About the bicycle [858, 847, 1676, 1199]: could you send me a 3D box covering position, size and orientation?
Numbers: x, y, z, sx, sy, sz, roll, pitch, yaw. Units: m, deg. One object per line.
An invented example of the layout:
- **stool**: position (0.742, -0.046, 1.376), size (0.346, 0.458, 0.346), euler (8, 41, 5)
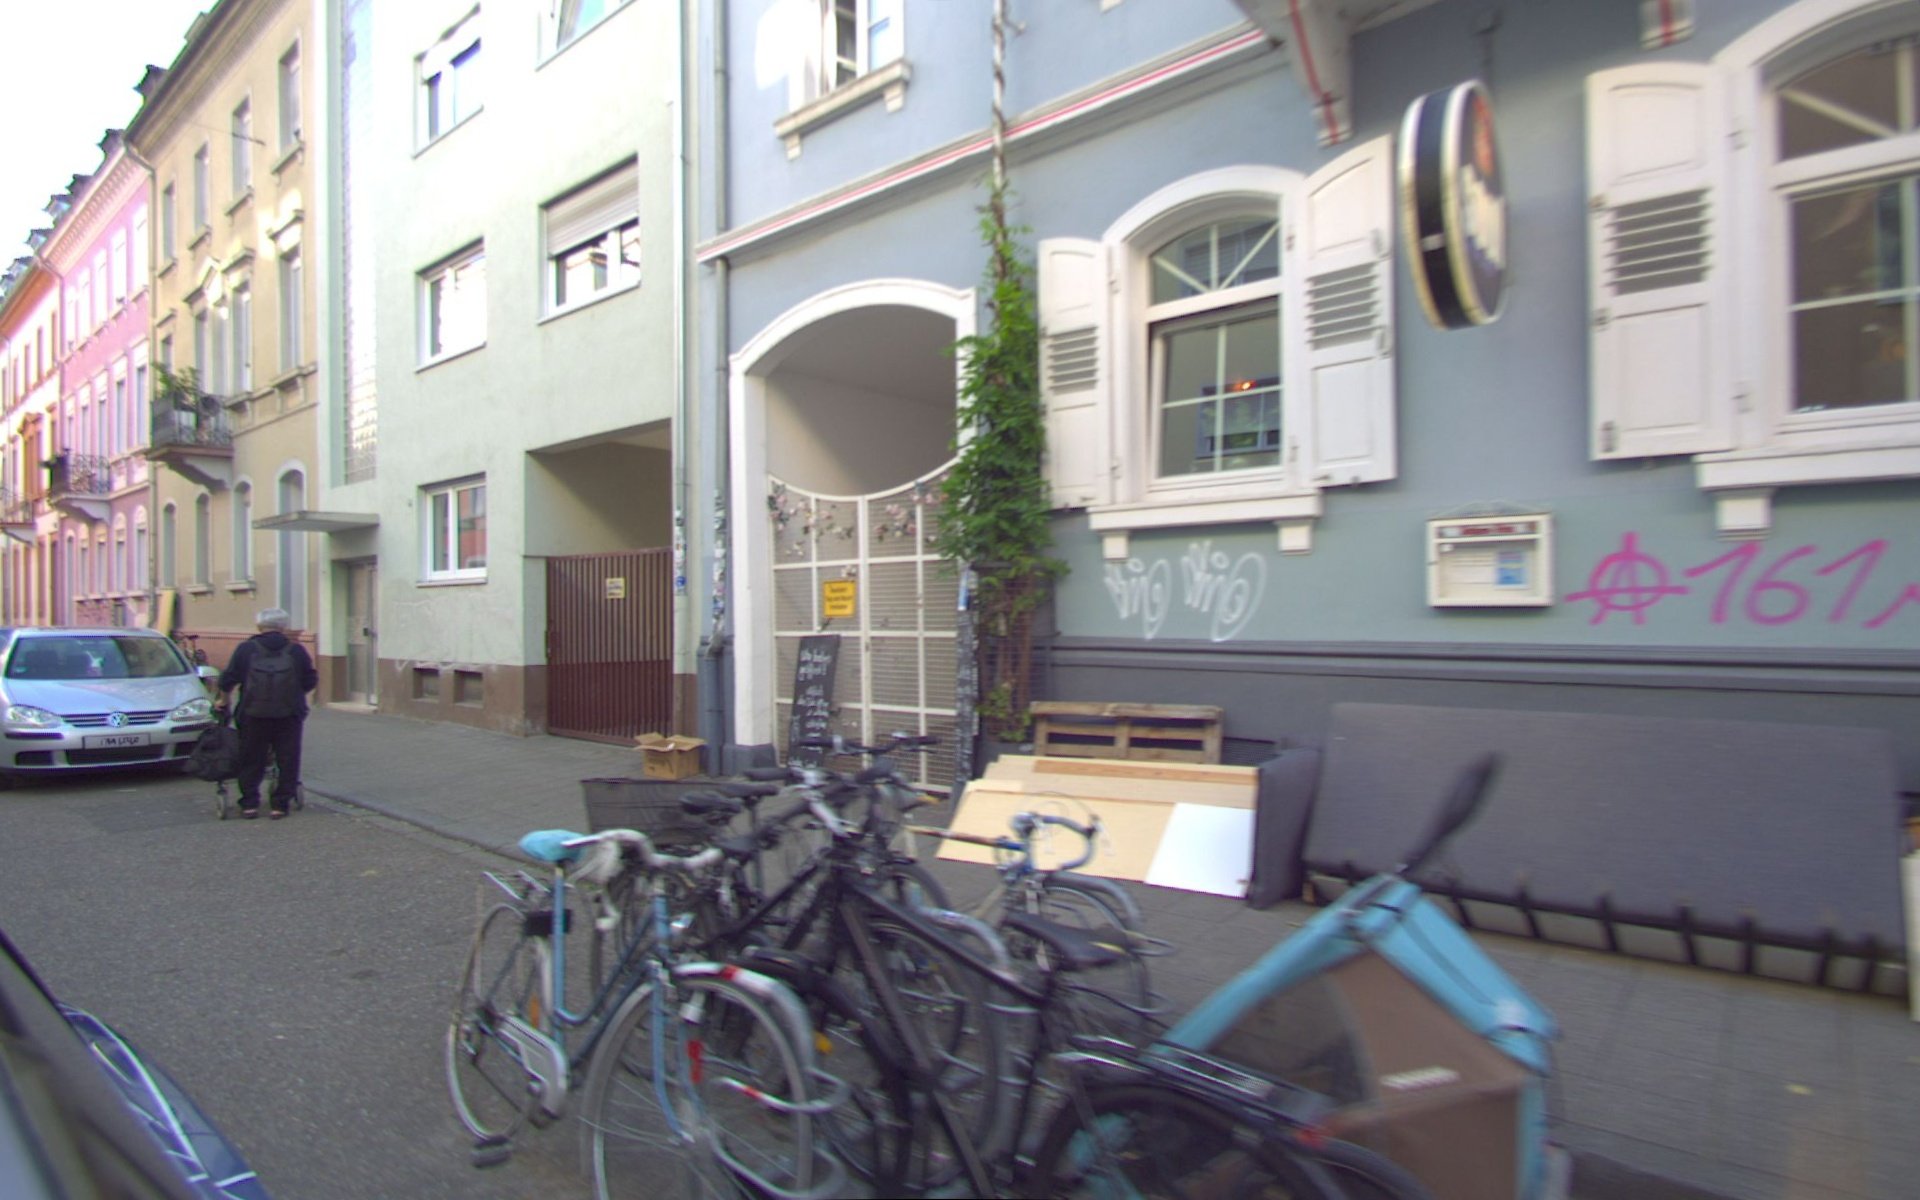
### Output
- **bicycle**: position (0.392, 0.994, 1.682), size (1.289, 0.923, 0.318), euler (-2, -2, 41)

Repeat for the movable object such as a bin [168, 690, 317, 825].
- **movable object such as a bin**: position (-5.667, 1.214, 8.008), size (0.585, 0.904, 0.836), euler (-1, 0, 40)

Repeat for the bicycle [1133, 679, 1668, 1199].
- **bicycle**: position (0.998, 0.807, 2.275), size (0.919, 1.184, 0.805), euler (-1, -1, 38)

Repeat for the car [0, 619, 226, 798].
- **car**: position (-8.895, 0.953, 10.228), size (4.034, 1.466, 1.662), euler (-2, -3, 44)

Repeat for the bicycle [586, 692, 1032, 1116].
- **bicycle**: position (-0.642, 0.944, 3.680), size (1.872, 1.114, 0.439), euler (-1, -1, 39)

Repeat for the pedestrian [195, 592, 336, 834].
- **pedestrian**: position (-5.283, 0.807, 7.708), size (0.671, 1.720, 0.706), euler (-1, 0, 40)

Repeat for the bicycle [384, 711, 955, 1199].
- **bicycle**: position (-0.875, 0.920, 2.659), size (1.828, 1.114, 0.494), euler (-1, -1, 40)

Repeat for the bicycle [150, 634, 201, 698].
- **bicycle**: position (-14.214, 1.176, 18.334), size (1.493, 1.110, 0.413), euler (-1, 0, 40)

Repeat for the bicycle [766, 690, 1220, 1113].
- **bicycle**: position (0.033, 0.929, 3.622), size (1.696, 1.114, 0.439), euler (-1, -1, 40)

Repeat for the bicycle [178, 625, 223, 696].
- **bicycle**: position (-14.015, 1.097, 18.668), size (1.493, 1.269, 0.315), euler (-1, 0, 40)

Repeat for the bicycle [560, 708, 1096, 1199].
- **bicycle**: position (-0.529, 0.961, 3.128), size (1.930, 1.114, 0.439), euler (-1, -1, 40)

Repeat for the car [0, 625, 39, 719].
- **car**: position (-16.997, 1.167, 16.901), size (4.195, 1.473, 1.770), euler (-2, -2, 39)

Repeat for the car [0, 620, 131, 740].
- **car**: position (-12.993, 1.021, 13.890), size (3.996, 1.463, 1.772), euler (-2, -2, 40)
